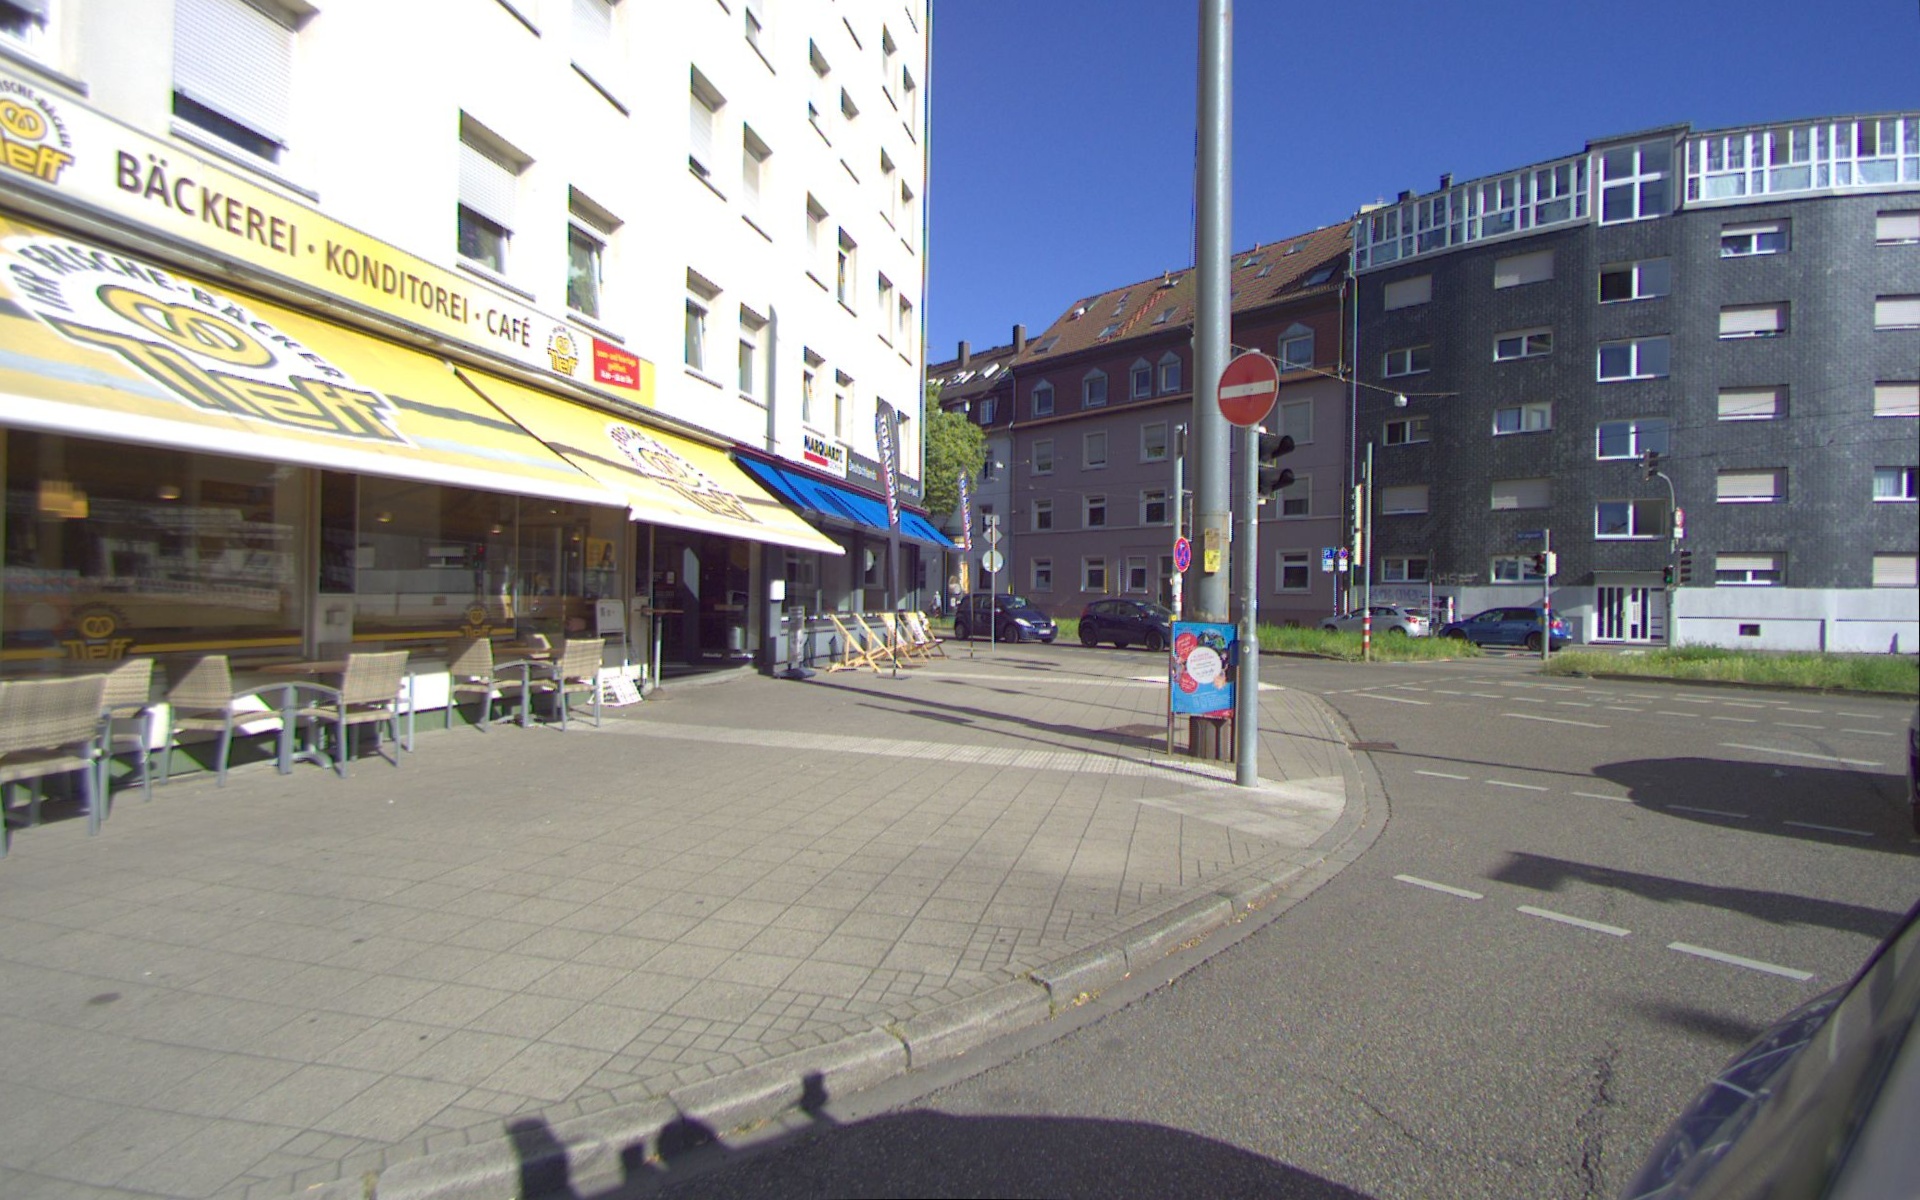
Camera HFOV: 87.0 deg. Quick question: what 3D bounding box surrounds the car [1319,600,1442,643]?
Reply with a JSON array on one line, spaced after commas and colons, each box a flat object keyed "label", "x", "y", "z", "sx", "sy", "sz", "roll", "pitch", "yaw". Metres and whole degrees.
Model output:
[{"label": "car", "x": 15.786, "y": 0.785, "z": 38.147, "sx": 1.658, "sy": 1.433, "sz": 3.995, "roll": 1, "pitch": 0, "yaw": -40}]

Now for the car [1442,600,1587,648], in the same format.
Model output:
[{"label": "car", "x": 18.812, "y": 0.780, "z": 34.460, "sx": 1.658, "sy": 1.433, "sz": 3.995, "roll": 1, "pitch": 0, "yaw": -40}]

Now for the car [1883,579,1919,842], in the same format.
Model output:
[{"label": "car", "x": 7.991, "y": 0.710, "z": 6.686, "sx": 4.399, "sy": 1.572, "sz": 1.906, "roll": 1, "pitch": 0, "yaw": -35}]

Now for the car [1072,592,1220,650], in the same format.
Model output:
[{"label": "car", "x": 5.237, "y": 0.557, "z": 28.852, "sx": 1.702, "sy": 1.472, "sz": 3.997, "roll": 3, "pitch": -1, "yaw": -38}]

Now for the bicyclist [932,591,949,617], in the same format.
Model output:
[{"label": "bicyclist", "x": -1.067, "y": 0.216, "z": 55.838, "sx": 0.501, "sy": 1.427, "sz": 0.804, "roll": 1, "pitch": 0, "yaw": -42}]

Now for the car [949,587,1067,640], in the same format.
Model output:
[{"label": "car", "x": 1.505, "y": 0.408, "z": 33.120, "sx": 1.628, "sy": 1.601, "sz": 3.997, "roll": 1, "pitch": 0, "yaw": -38}]

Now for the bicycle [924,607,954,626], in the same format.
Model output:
[{"label": "bicycle", "x": -1.159, "y": 0.916, "z": 55.925, "sx": 0.498, "sy": 0.967, "sz": 1.994, "roll": 1, "pitch": 0, "yaw": -41}]

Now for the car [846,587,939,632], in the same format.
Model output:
[{"label": "car", "x": -2.665, "y": 0.332, "z": 39.318, "sx": 1.628, "sy": 1.601, "sz": 3.997, "roll": 1, "pitch": 0, "yaw": -38}]
